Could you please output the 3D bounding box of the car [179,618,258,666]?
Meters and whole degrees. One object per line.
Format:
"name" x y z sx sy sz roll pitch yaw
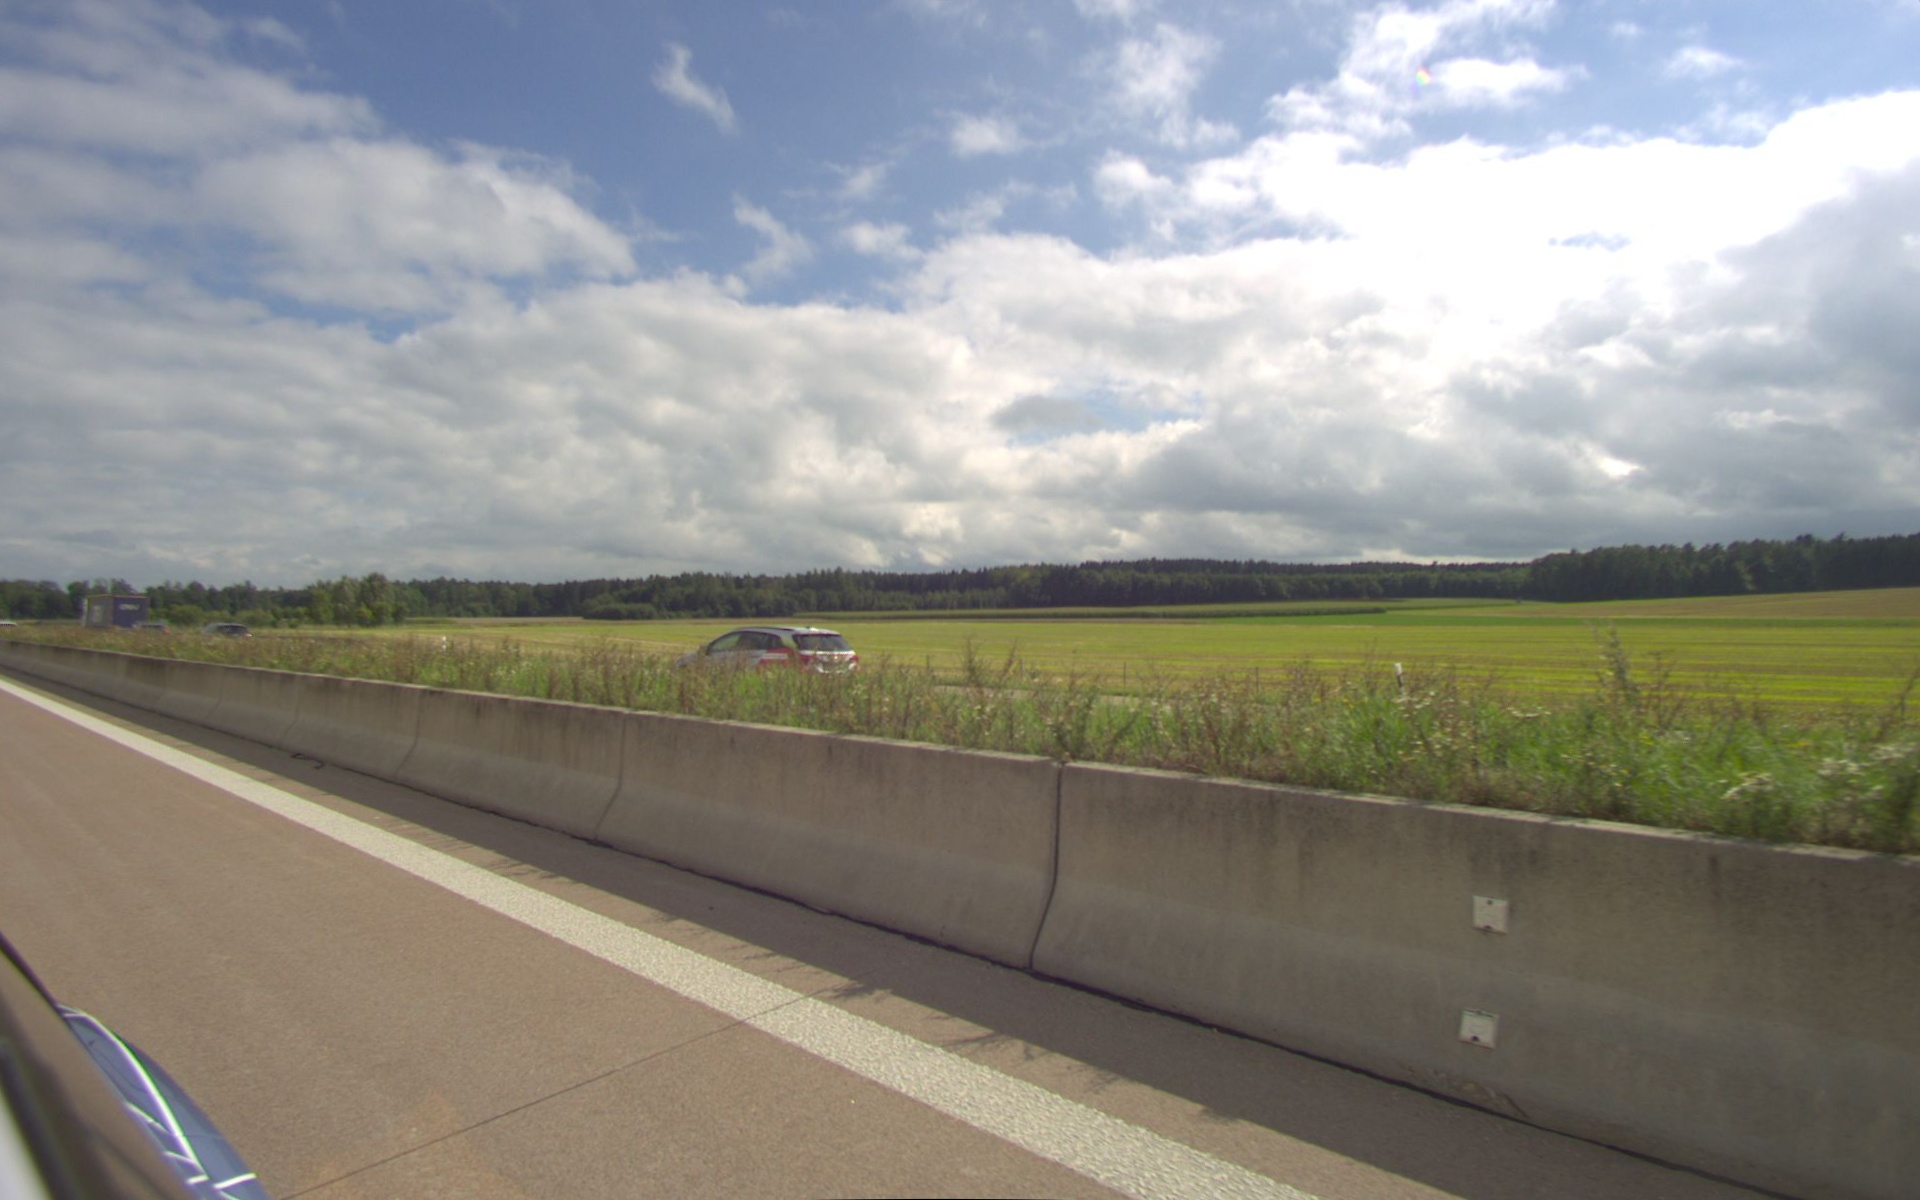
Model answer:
"car" -33.358 1.860 45.495 3.998 2.029 1.973 -1 -3 41

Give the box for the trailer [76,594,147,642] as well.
"trailer" -75.759 1.665 90.240 14.325 3.989 2.741 -1 -2 42

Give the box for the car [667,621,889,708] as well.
"car" -3.626 1.191 19.818 4.270 1.520 1.974 -1 -3 39
